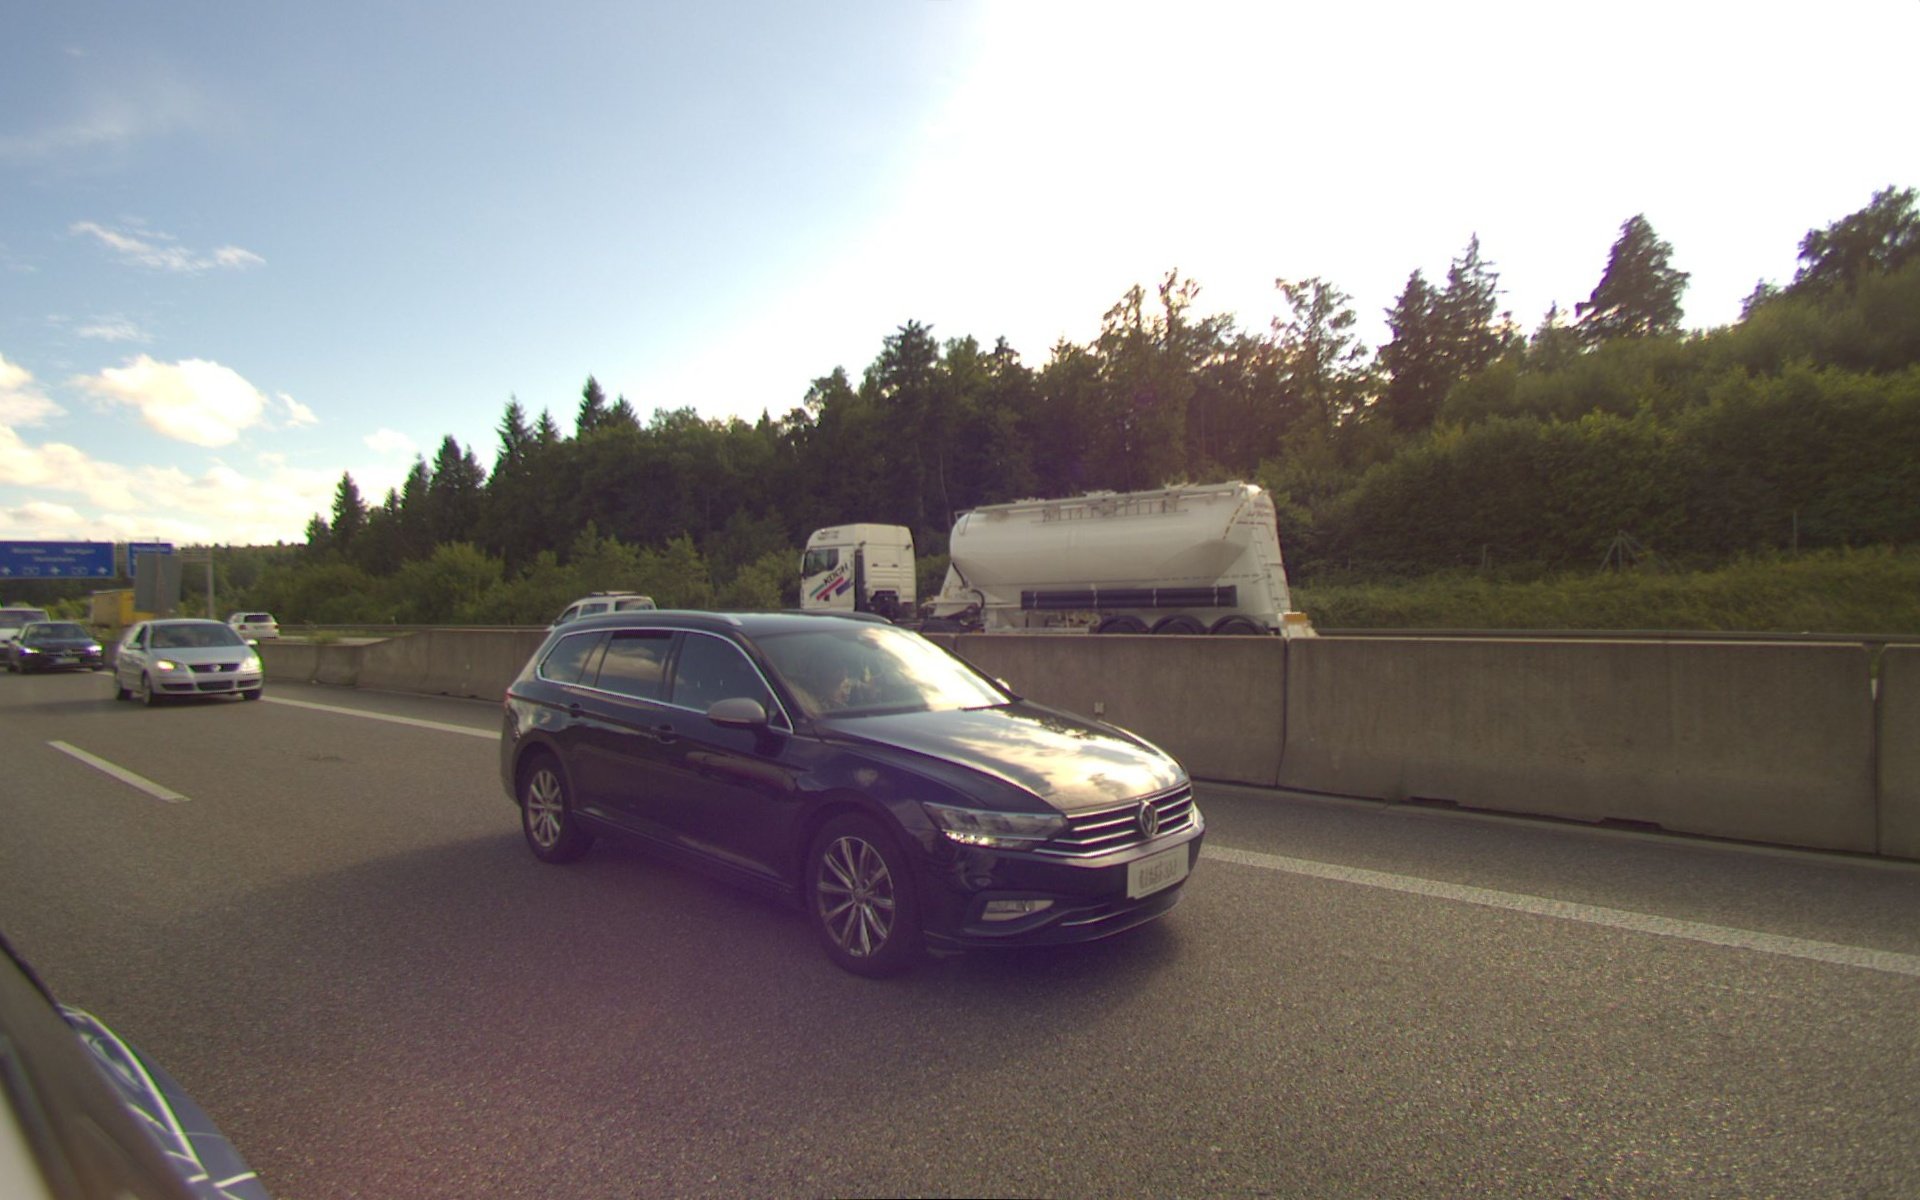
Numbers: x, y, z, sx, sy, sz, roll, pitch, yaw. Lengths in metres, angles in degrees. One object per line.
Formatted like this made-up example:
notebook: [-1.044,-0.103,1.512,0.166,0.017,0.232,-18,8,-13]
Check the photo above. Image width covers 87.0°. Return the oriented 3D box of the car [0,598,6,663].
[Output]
car: [-40.811,1.258,41.399,5.858,2.591,2.027,-1,-2,41]

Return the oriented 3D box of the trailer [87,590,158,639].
trailer: [-77.456,1.290,93.424,13.554,4.234,2.805,-1,0,41]

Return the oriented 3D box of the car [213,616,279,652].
car: [-37.724,1.774,53.450,4.321,1.823,1.833,-1,0,41]

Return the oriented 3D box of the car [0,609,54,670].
car: [-32.951,1.350,34.920,4.845,1.980,1.922,-1,0,41]

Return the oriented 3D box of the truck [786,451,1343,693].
truck: [1.545,-0.454,23.990,13.901,4.387,2.902,-1,0,40]

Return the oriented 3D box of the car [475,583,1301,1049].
car: [-0.753,0.731,5.506,4.569,1.488,1.890,-1,-1,43]

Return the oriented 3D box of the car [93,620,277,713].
car: [-14.244,1.129,18.501,4.664,1.442,1.786,-1,0,41]

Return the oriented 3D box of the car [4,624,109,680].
car: [-25.919,1.438,28.999,3.992,1.442,1.786,-1,0,41]

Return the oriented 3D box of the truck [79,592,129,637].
truck: [-83.332,1.369,98.516,6.076,4.234,2.805,-1,0,41]

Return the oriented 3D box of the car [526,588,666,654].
car: [-10.349,0.579,28.660,4.321,1.725,1.833,-1,0,41]
